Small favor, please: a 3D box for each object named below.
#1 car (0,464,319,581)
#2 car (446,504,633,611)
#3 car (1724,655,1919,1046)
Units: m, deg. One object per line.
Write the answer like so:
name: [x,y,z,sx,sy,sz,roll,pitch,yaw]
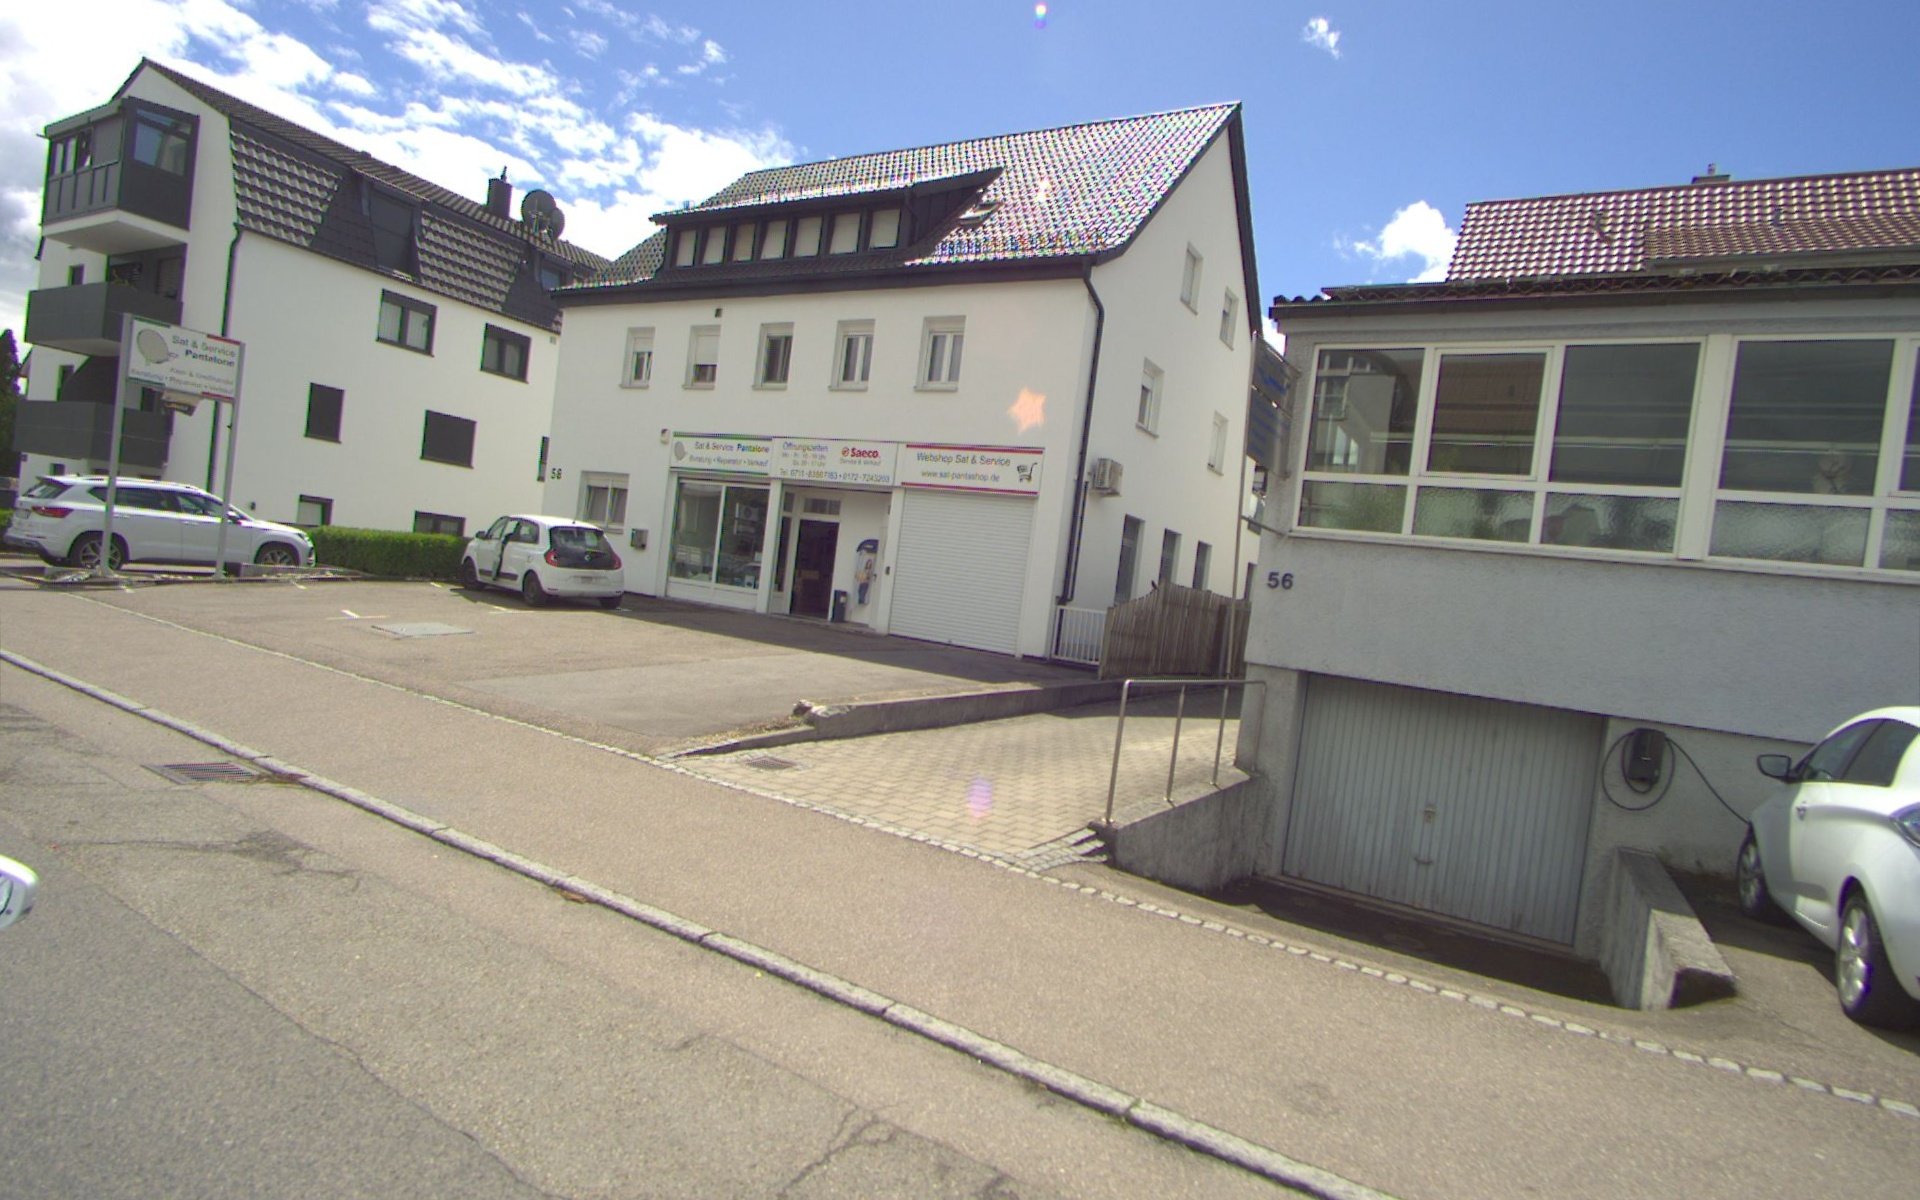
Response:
car: [-14.078,-1.300,17.803,1.836,1.677,4.190,7,4,32]
car: [-7.784,-0.806,18.491,3.610,1.540,1.628,9,5,40]
car: [5.683,1.315,5.538,1.720,1.627,3.907,7,-1,31]
